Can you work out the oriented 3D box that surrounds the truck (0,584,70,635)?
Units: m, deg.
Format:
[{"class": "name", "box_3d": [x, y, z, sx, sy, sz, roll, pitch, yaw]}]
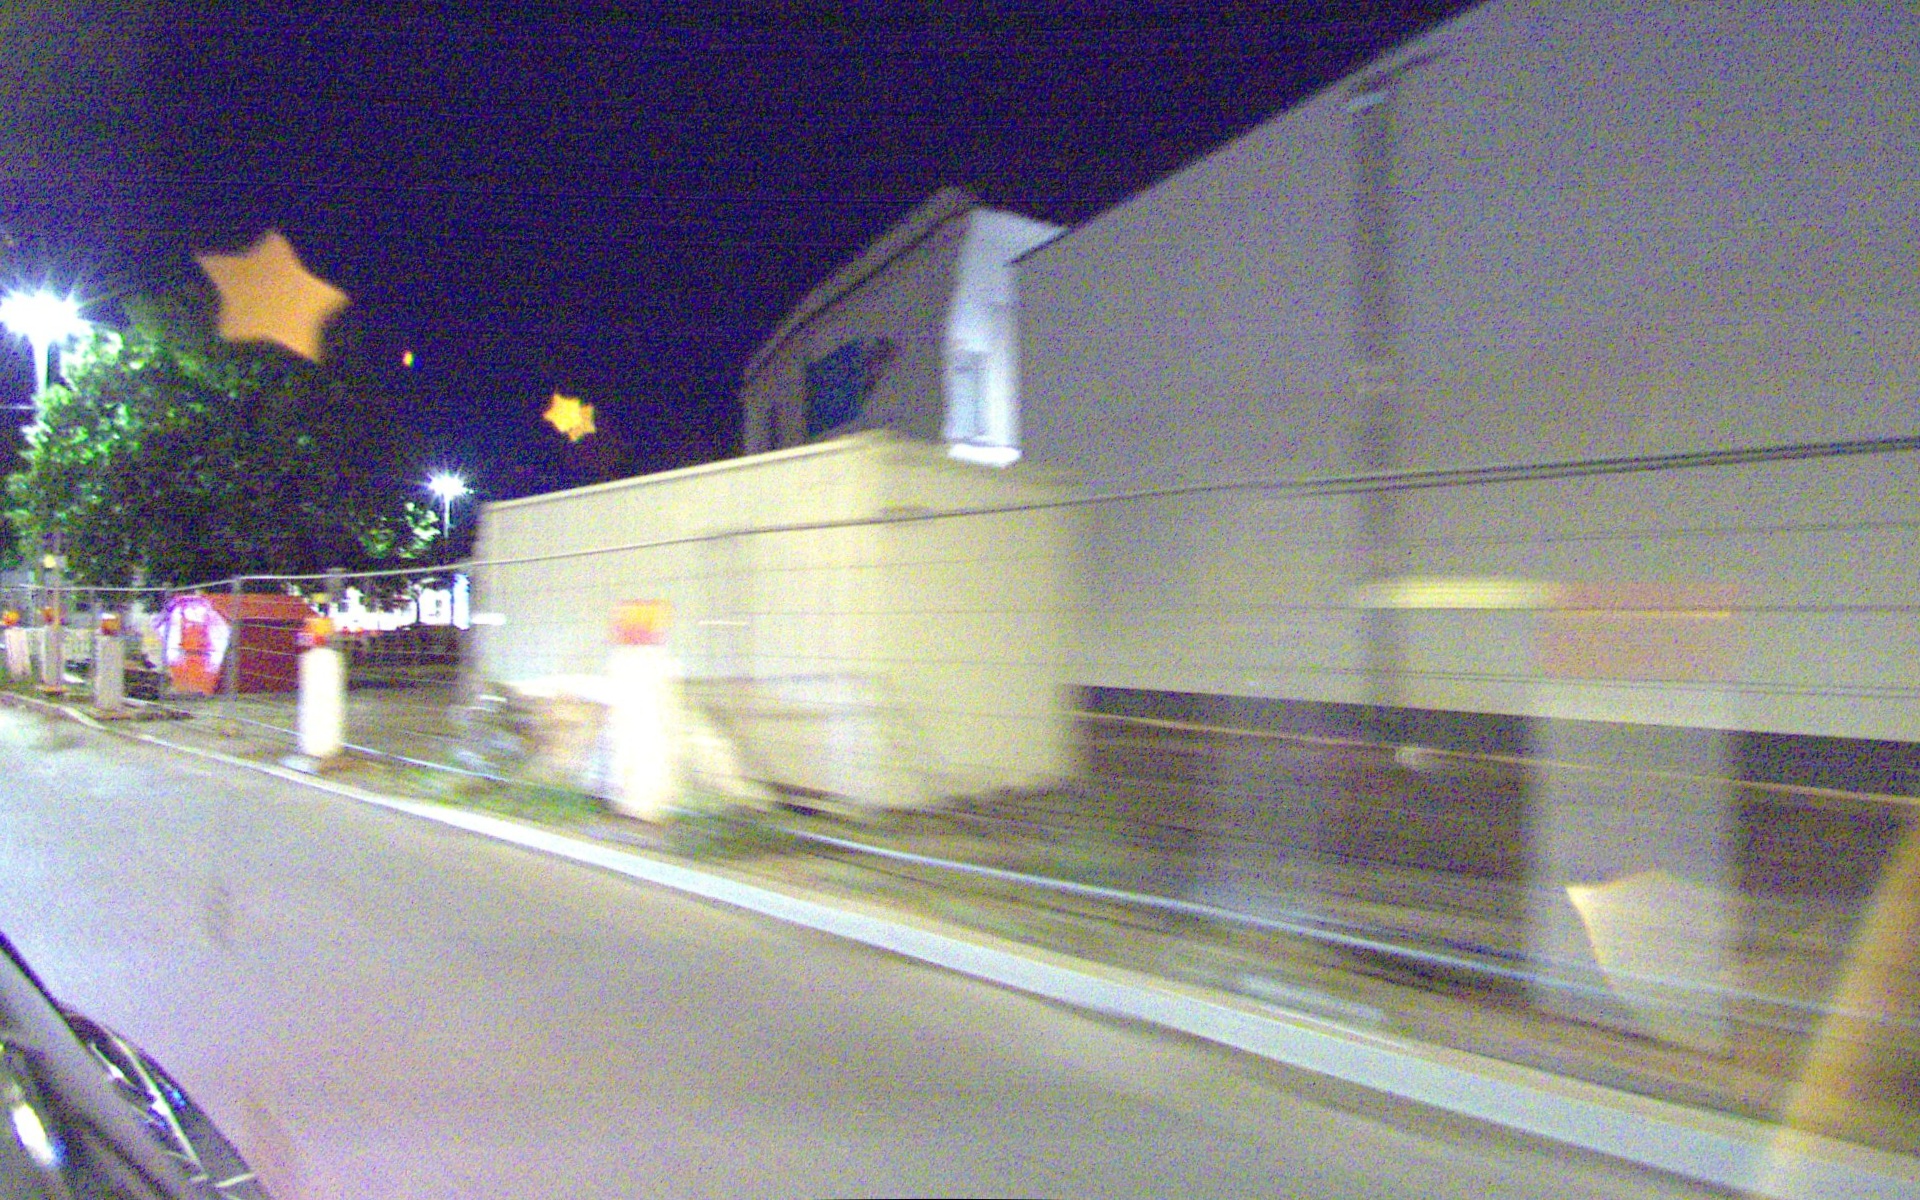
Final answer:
[{"class": "truck", "box_3d": [-69.874, 0.691, 74.667, 6.107, 3.722, 2.406, 1, -1, -39]}]
